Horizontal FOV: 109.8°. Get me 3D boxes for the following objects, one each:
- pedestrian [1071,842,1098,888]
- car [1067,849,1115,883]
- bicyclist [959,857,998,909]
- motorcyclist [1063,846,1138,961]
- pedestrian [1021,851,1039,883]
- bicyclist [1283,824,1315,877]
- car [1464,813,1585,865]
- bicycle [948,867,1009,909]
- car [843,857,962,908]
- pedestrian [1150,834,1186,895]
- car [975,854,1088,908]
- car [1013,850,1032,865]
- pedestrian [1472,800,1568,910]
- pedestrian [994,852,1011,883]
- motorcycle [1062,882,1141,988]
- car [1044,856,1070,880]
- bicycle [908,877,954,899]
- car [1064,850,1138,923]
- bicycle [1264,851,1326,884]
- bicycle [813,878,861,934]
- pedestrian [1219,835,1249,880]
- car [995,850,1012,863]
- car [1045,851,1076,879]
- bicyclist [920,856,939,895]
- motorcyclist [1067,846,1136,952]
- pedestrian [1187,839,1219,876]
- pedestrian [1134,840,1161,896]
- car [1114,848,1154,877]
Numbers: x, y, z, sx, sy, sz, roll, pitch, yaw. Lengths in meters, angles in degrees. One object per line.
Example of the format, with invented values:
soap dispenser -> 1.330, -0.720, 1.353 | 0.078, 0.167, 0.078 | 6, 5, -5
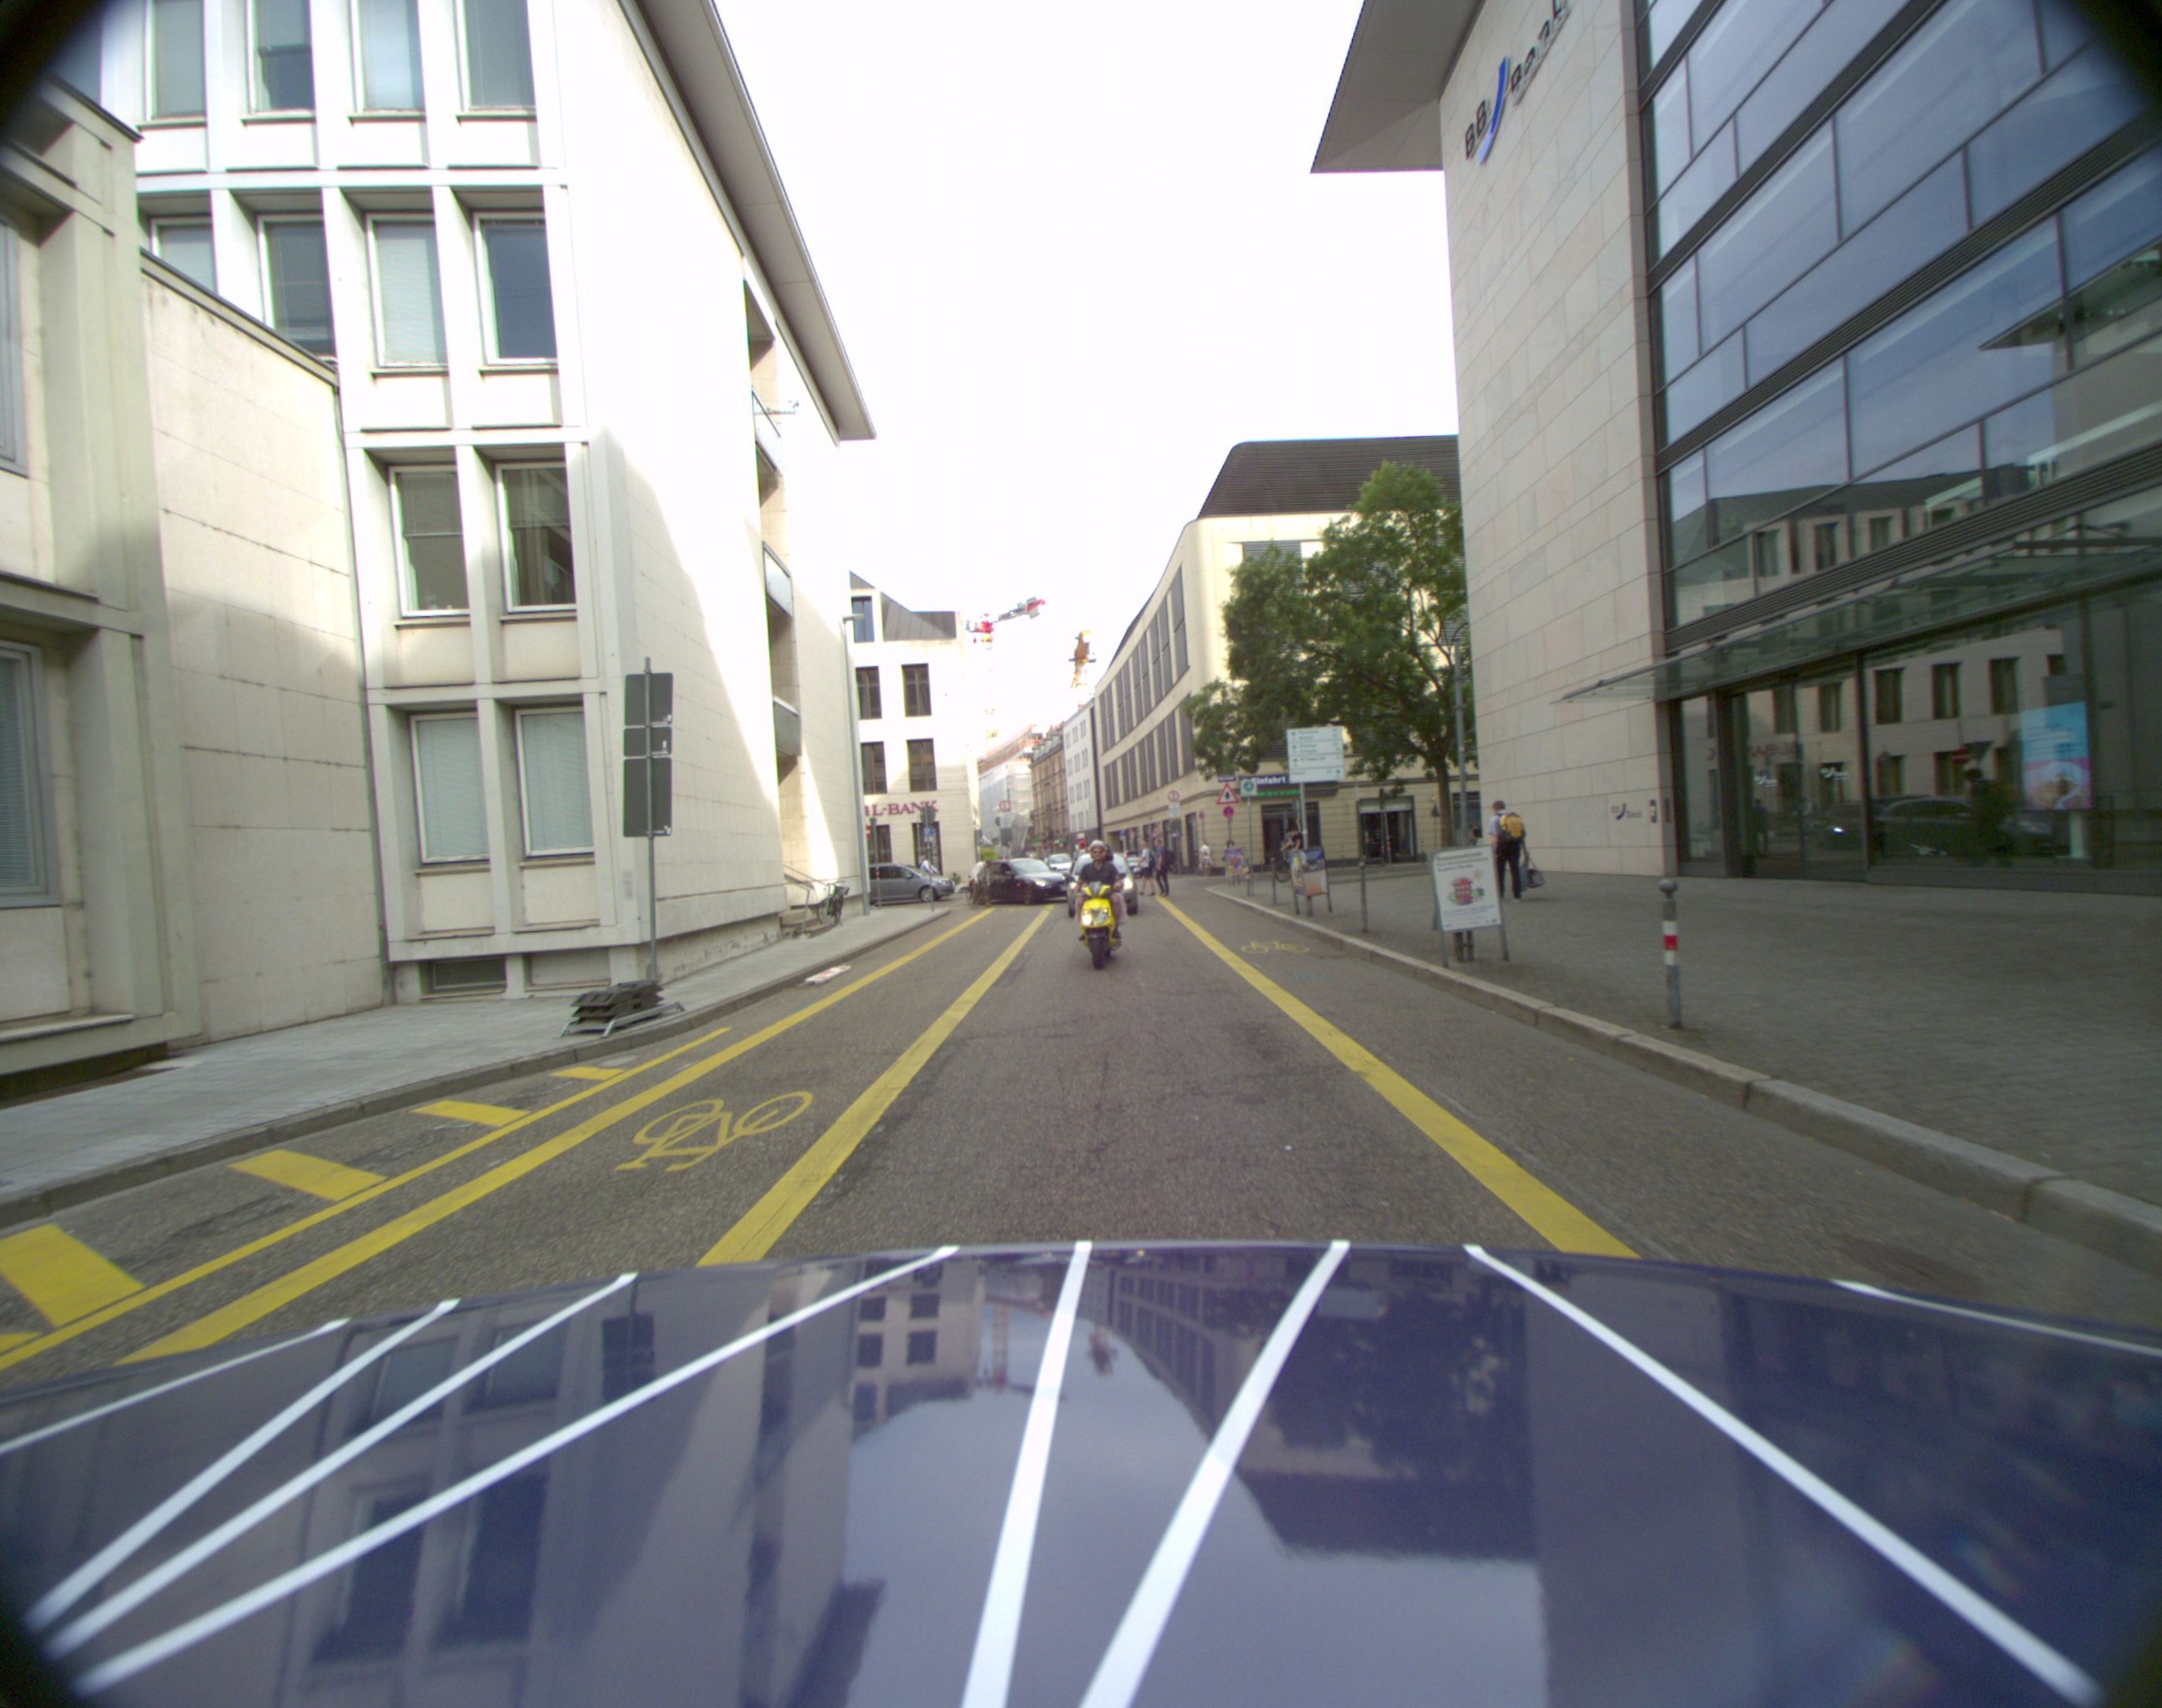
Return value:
pedestrian -> 0.144, 0.456, 31.047 | 0.774, 1.820, 0.860 | -4, 2, -19
car -> 0.458, 0.530, 37.646 | 1.710, 1.482, 4.100 | -4, 1, -8
bicyclist -> -3.277, 0.911, 24.251 | 0.894, 1.585, 0.875 | -4, 2, -29
motorcyclist -> 0.264, 0.631, 10.268 | 0.924, 1.445, 1.065 | -2, 1, 2
pedestrian -> -3.015, 0.739, 44.580 | 0.862, 1.820, 0.773 | -4, 2, -10
bicyclist -> 6.925, -0.118, 24.171 | 0.643, 1.610, 0.622 | -6, 0, -6
car -> 16.069, -0.495, 27.792 | 1.899, 1.683, 3.963 | -3, 0, -3
bicycle -> -3.316, 1.055, 24.345 | 0.872, 1.188, 2.857 | -4, 1, -29
car -> -7.002, 1.097, 30.155 | 4.193, 1.581, 1.814 | -5, 1, -1
pedestrian -> 2.722, 0.336, 23.810 | 0.745, 1.804, 0.756 | -7, 2, -11
car -> -1.671, 0.855, 24.533 | 1.720, 1.482, 3.755 | -5, 1, -38
car -> -6.572, 0.350, 84.674 | 1.590, 1.477, 3.995 | -4, 1, -11
pedestrian -> 7.386, 0.013, 12.831 | 1.028, 1.710, 0.818 | -6, 1, 1
pedestrian -> -4.702, 0.804, 45.479 | 0.861, 1.820, 0.773 | -3, 2, -6
motorcycle -> 0.280, 1.023, 10.267 | 0.929, 1.159, 2.127 | -2, 0, 2
car -> -1.725, 0.968, 53.948 | 1.589, 1.477, 3.997 | -3, 1, -5
bicycle -> -6.373, 1.456, 32.342 | 1.768, 0.793, 0.663 | -3, 1, -2
car -> 0.538, 0.725, 19.030 | 1.562, 1.482, 3.784 | -4, 1, 3
bicycle -> 6.790, 0.435, 24.180 | 1.724, 0.829, 0.601 | -6, -1, -5
bicycle -> -5.849, 1.217, 18.303 | 0.590, 1.161, 1.814 | -3, 1, -3
pedestrian -> 6.245, 0.133, 31.083 | 0.879, 1.699, 0.910 | -7, 2, 1
car -> -9.739, 0.348, 95.057 | 1.590, 1.477, 3.995 | -4, 1, -11
car -> -1.343, 0.671, 48.065 | 1.563, 1.548, 4.100 | -4, 1, -6
bicyclist -> -6.444, 0.921, 32.331 | 0.586, 1.586, 0.663 | -3, 2, -2
motorcyclist -> 0.294, 0.622, 10.846 | 0.903, 1.445, 0.742 | -2, 1, 2
pedestrian -> 6.140, 0.172, 38.262 | 0.894, 1.755, 1.058 | -8, 2, -29
pedestrian -> 2.165, 0.451, 24.801 | 0.644, 1.755, 0.653 | -4, 1, -11
car -> 3.114, 0.446, 45.381 | 1.563, 1.548, 4.100 | -4, 1, -6
